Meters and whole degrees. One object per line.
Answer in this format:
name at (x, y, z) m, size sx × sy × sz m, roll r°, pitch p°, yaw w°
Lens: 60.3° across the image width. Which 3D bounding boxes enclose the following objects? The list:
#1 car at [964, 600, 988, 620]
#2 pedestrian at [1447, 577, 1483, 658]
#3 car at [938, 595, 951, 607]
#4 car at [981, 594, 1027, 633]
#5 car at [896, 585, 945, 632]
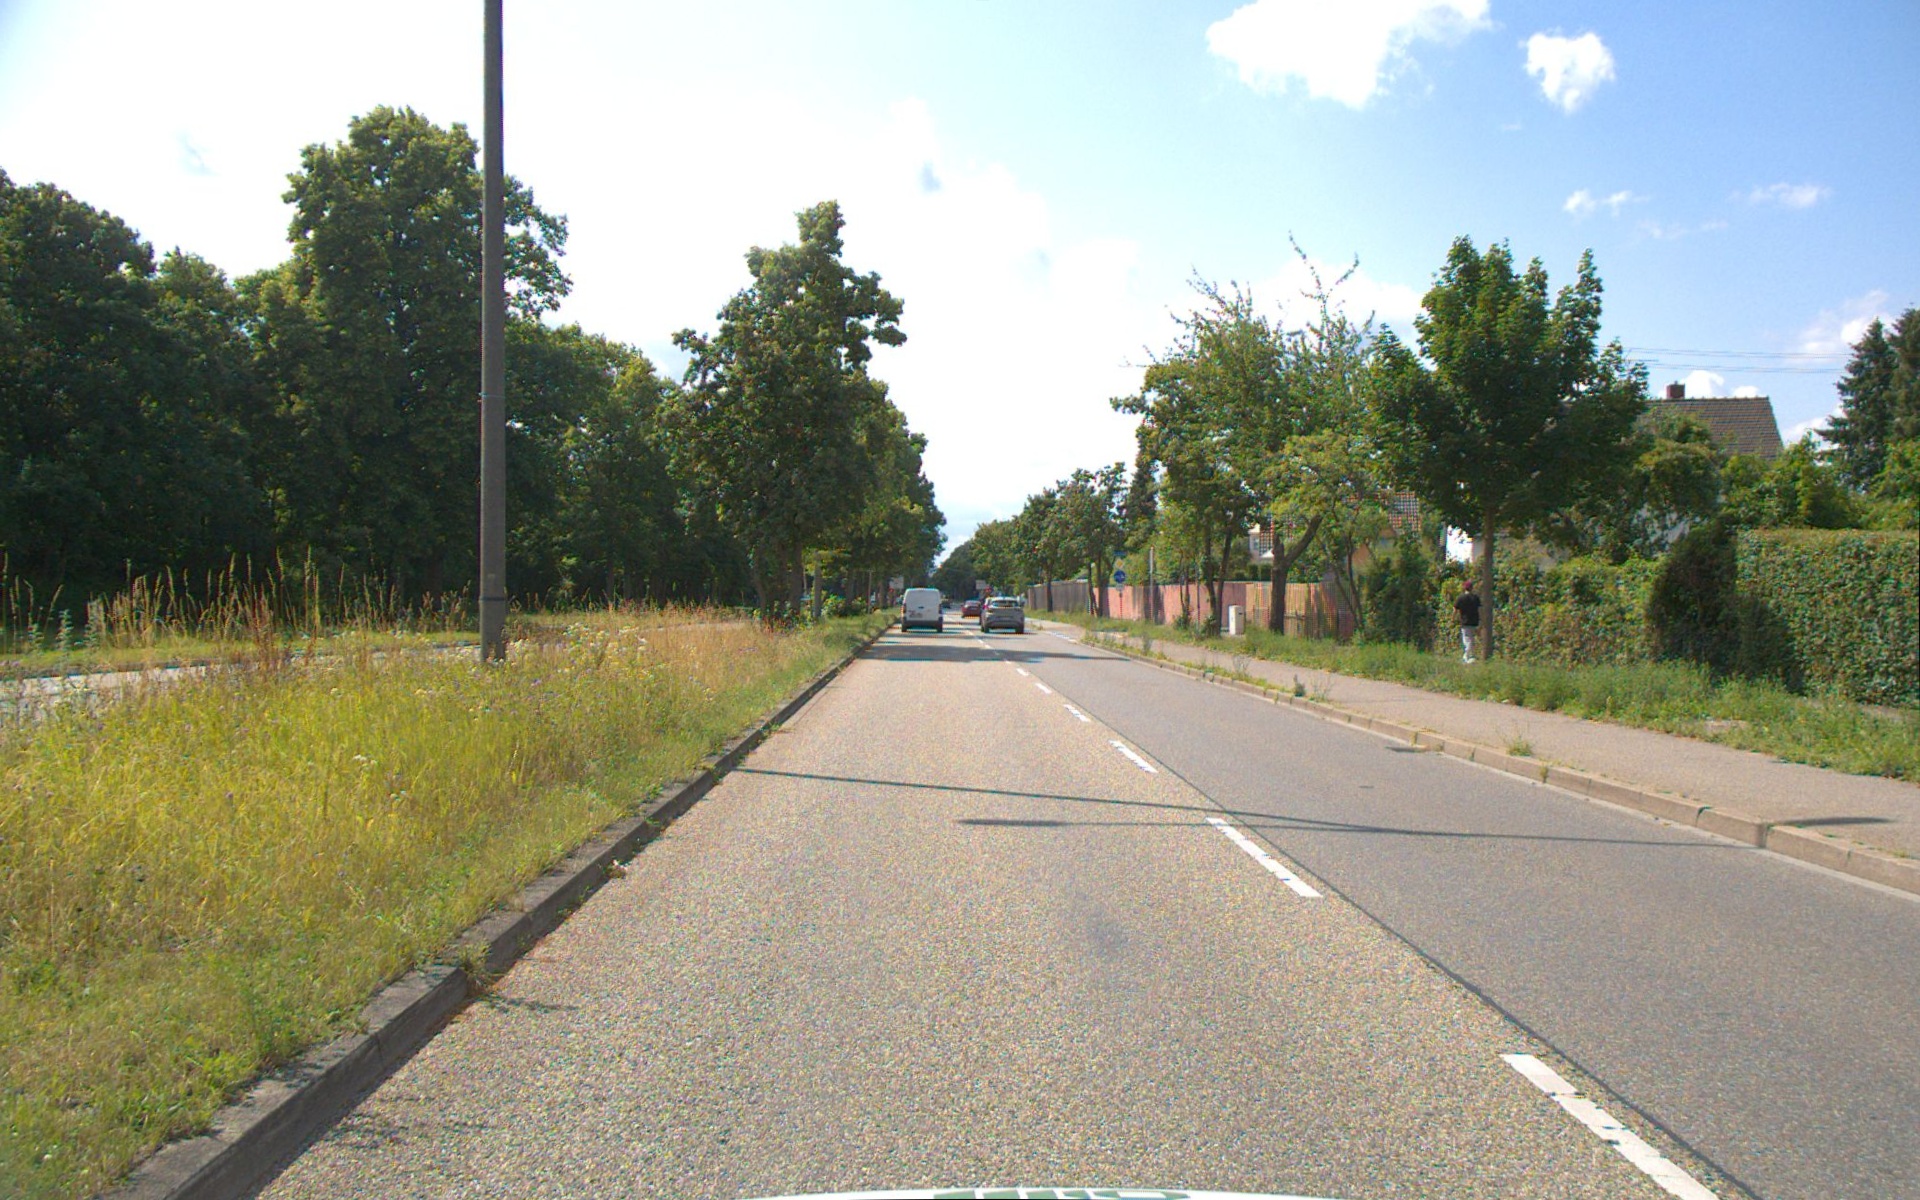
car at (1.285, 0.822, 135.468) m, size 1.842 × 1.615 × 3.999 m, roll 0°, pitch 0°, yaw -1°
pedestrian at (10.706, 0.365, 35.105) m, size 0.548 × 1.706 × 0.634 m, roll 0°, pitch 0°, yaw -2°
car at (-2.486, 0.152, 260.788) m, size 1.953 × 1.803 × 4.146 m, roll 2°, pitch 0°, yaw -1°
car at (1.902, 0.574, 72.446) m, size 1.837 × 1.617 × 4.183 m, roll 0°, pitch 0°, yaw -1°
car at (-1.670, 0.341, 71.157) m, size 2.024 × 1.945 × 4.645 m, roll 0°, pitch 0°, yaw -1°
